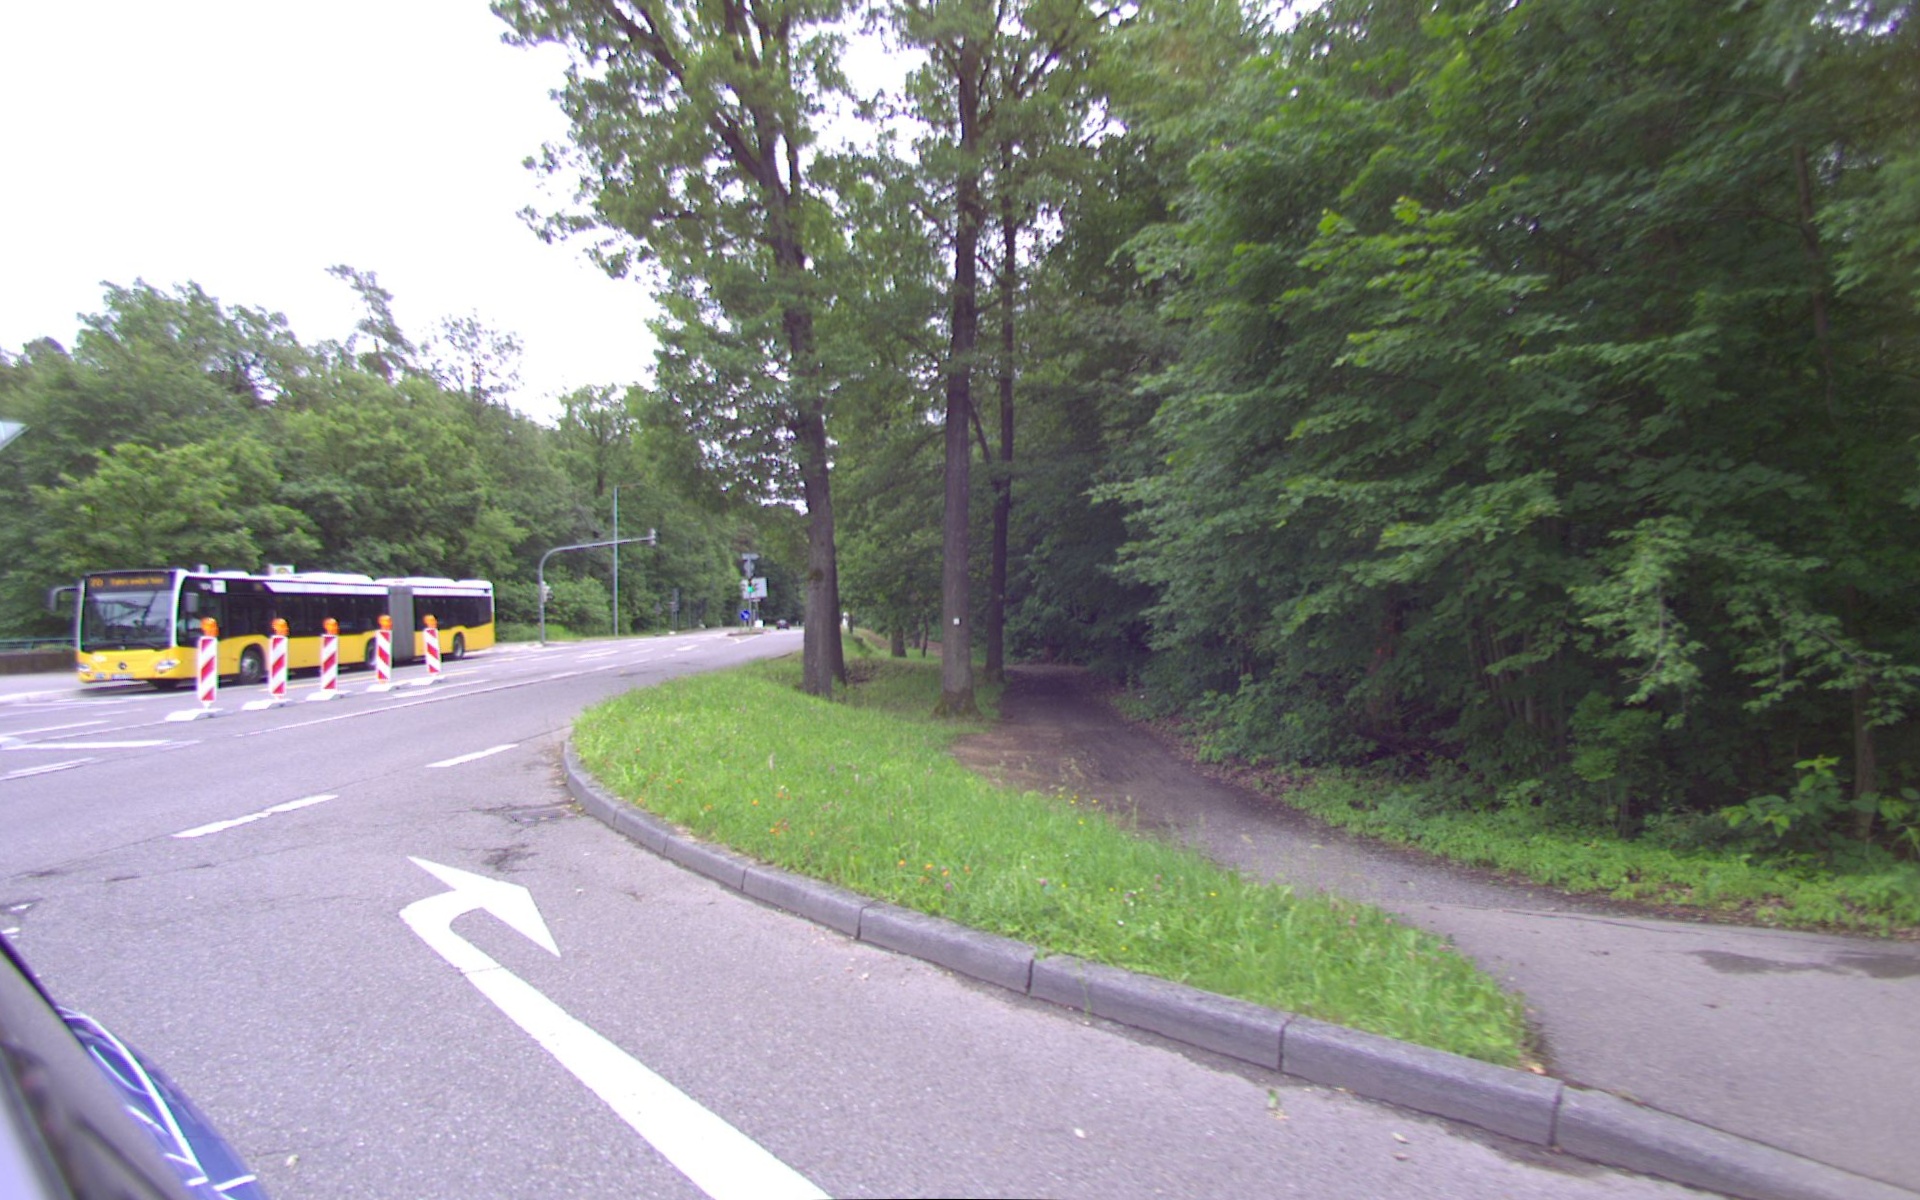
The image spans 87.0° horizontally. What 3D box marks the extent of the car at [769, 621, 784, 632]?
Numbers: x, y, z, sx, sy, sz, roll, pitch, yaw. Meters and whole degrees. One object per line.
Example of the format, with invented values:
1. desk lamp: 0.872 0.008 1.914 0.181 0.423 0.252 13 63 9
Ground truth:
1. car: -26.667 3.873 147.221 1.725 1.340 4.006 -3 0 -6

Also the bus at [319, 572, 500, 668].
1. bus: -20.534 0.712 38.375 2.771 3.183 7.760 -2 0 -2

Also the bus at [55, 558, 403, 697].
1. bus: -20.225 0.689 29.265 2.771 3.183 10.523 -2 0 -2
